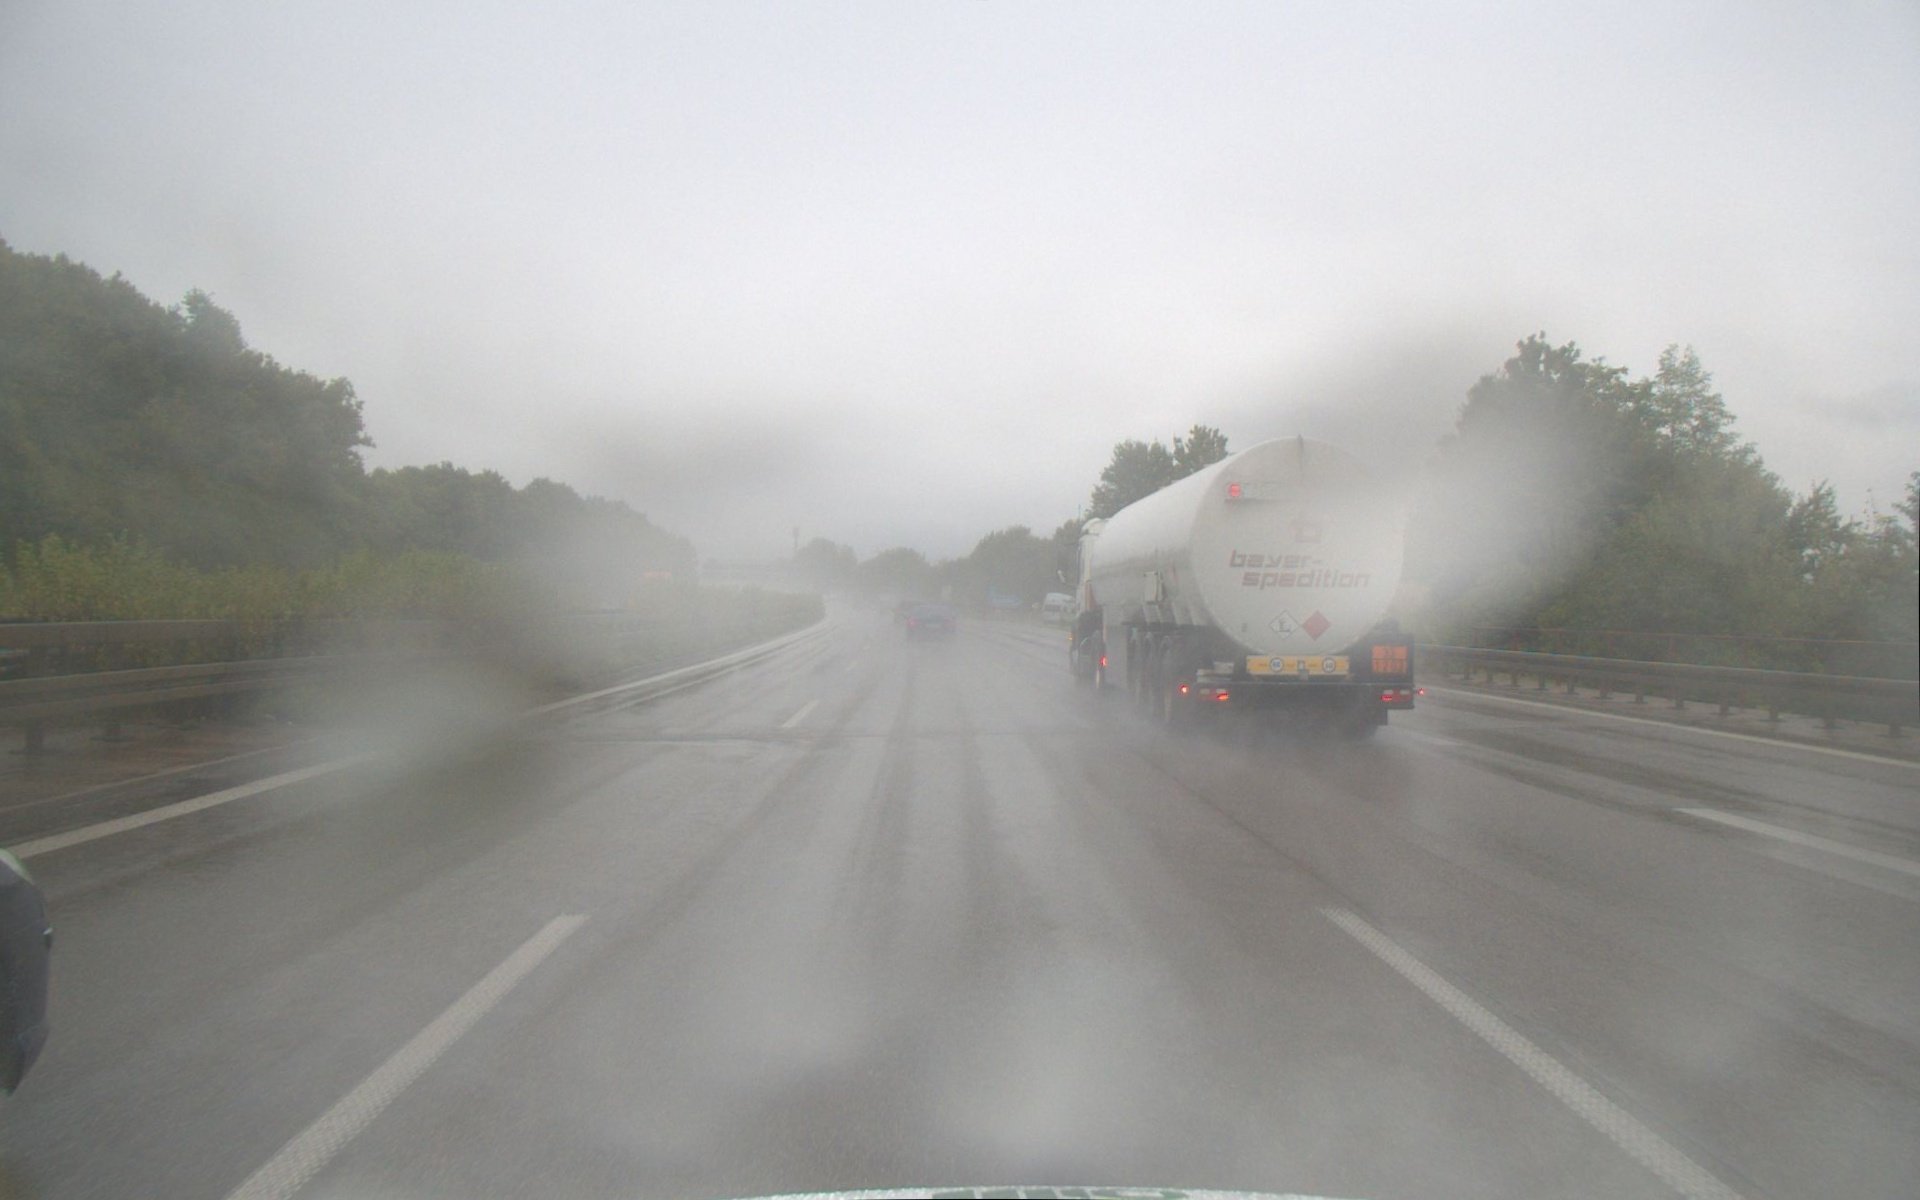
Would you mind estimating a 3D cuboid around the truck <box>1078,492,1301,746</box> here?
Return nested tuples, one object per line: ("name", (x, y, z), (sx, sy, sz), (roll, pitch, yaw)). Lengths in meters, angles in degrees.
("truck", (3.637, 0.288, 27.809), (2.883, 3.749, 6.361), (0, 0, 0))

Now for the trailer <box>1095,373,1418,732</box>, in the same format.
("trailer", (3.597, -0.528, 22.443), (2.943, 3.915, 8.624), (0, 0, 1))

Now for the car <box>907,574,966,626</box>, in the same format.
("car", (-0.875, -0.027, 59.699), (1.939, 1.787, 4.479), (1, 1, -3))

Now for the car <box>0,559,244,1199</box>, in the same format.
("car", (-3.273, 0.648, 2.539), (2.012, 1.511, 5.158), (1, 0, 1))
